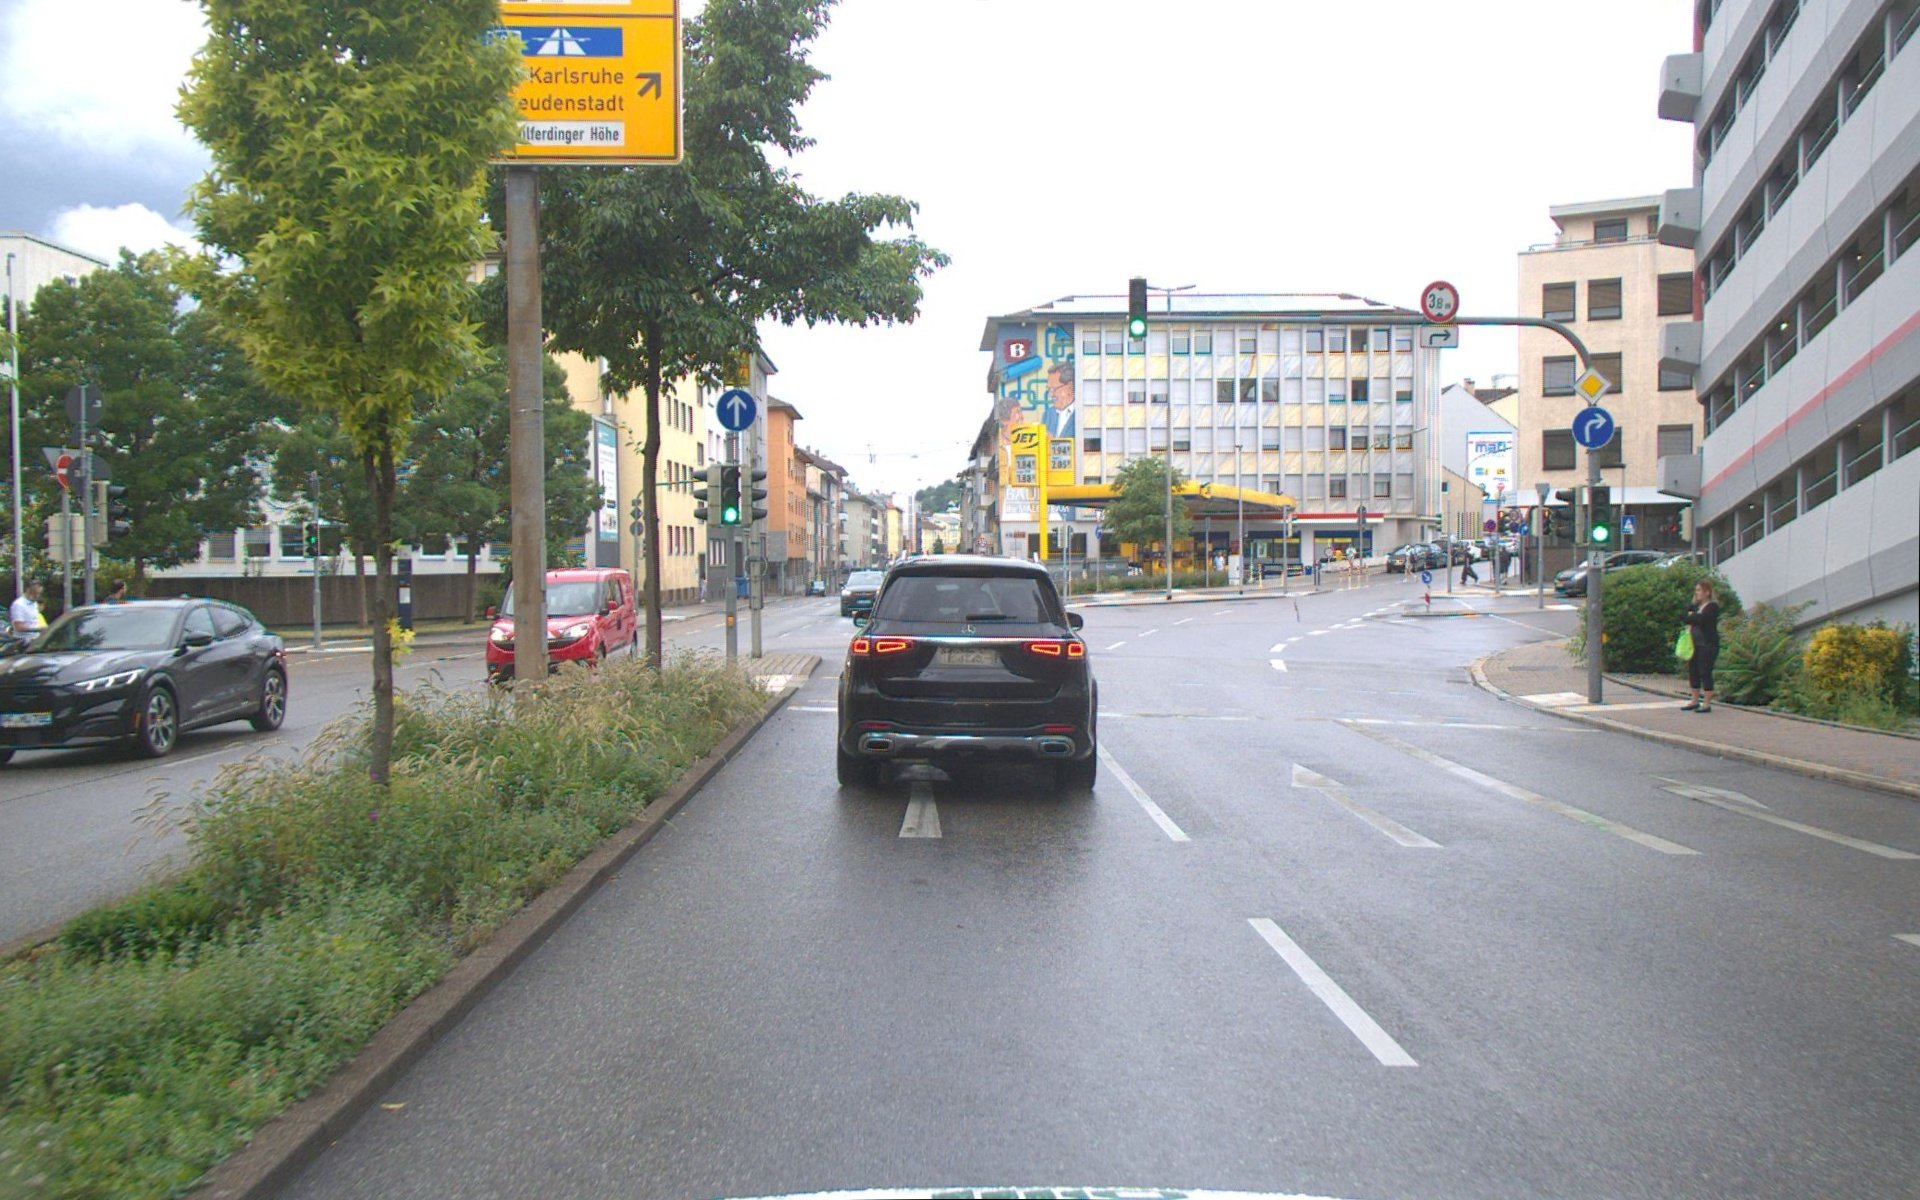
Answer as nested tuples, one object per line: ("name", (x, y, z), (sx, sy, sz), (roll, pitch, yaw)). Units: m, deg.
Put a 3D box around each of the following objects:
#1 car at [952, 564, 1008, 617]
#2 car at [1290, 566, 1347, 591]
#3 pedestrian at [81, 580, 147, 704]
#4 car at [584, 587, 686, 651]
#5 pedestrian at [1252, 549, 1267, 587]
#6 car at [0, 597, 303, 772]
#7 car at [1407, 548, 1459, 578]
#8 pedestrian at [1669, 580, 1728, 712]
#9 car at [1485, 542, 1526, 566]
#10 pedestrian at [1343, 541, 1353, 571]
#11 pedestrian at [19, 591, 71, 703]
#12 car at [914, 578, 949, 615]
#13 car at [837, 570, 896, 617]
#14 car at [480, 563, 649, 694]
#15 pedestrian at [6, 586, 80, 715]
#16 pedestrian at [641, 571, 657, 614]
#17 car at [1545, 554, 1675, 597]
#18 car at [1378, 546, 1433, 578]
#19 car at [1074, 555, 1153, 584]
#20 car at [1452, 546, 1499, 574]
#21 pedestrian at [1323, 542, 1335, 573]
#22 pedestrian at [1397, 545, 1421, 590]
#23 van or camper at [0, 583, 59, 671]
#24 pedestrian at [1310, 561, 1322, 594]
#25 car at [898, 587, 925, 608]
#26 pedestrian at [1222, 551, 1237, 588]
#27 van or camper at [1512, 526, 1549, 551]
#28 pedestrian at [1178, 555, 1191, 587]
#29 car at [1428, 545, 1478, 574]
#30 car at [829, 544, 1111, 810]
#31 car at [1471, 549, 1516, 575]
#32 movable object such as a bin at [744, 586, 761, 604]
("car", (0.708, -0.326, 60.882), (1.953, 1.832, 3.999), (2, -1, -1))
("car", (22.763, -1.342, 104.960), (1.962, 1.422, 3.982), (1, -1, 38))
("pedestrian", (-12.421, 0.599, 24.303), (0.675, 1.788, 0.716), (0, 0, -12))
("car", (-8.377, 0.439, 42.952), (1.809, 1.454, 4.434), (-2, 1, -1))
("pedestrian", (13.997, -1.491, 77.287), (0.560, 1.727, 0.631), (1, -1, 1))
("car", (-8.926, 0.815, 17.965), (1.850, 1.614, 4.535), (-2, 0, -2))
("car", (28.628, -2.250, 100.115), (1.958, 1.735, 3.989), (-1, 1, 33))
("pedestrian", (9.883, 0.613, 22.129), (0.634, 1.740, 0.470), (0, -2, 36))
("car", (41.070, -3.457, 124.525), (1.958, 1.735, 3.989), (-1, 1, 33))
("pedestrian", (21.939, -2.496, 93.505), (0.474, 1.669, 0.438), (1, -1, 28))
("pedestrian", (-12.998, 0.659, 23.499), (0.430, 1.560, 0.545), (-1, 0, -3))
("car", (-1.723, -0.185, 98.478), (1.953, 2.049, 3.998), (2, -1, -2))
("car", (-3.500, -0.218, 62.625), (1.953, 1.642, 4.189), (2, -1, 0))
("car", (-6.370, 0.429, 27.159), (1.757, 1.886, 4.790), (-2, 0, -3))
("pedestrian", (-12.271, 0.660, 22.150), (0.599, 1.685, 0.691), (-1, 0, -3))
("pedestrian", (-12.737, -0.306, 67.809), (0.616, 1.757, 0.649), (-1, 0, -11))
("car", (23.933, -0.894, 60.993), (4.095, 1.465, 1.860), (-1, 0, 6))
("car", (25.810, -2.188, 95.823), (1.958, 1.735, 3.989), (-1, 1, 33))
("car", (7.921, -1.555, 85.507), (1.724, 1.400, 3.935), (-1, 1, -44))
("car", (34.135, -2.635, 109.395), (1.958, 1.735, 3.989), (-1, 1, 33))
("pedestrian", (20.927, -2.396, 93.800), (0.515, 1.757, 0.688), (0, 0, 26))
("pedestrian", (21.989, -1.580, 81.068), (0.838, 2.165, 0.947), (-1, 0, -6))
("van or camper", (-23.572, 0.602, 37.962), (4.641, 1.965, 2.023), (0, 0, -1))
("pedestrian", (15.178, -0.957, 70.476), (0.388, 1.424, 0.446), (1, -1, 1))
("car", (-3.960, -0.181, 136.500), (1.952, 1.574, 4.190), (1, -1, 2))
("pedestrian", (12.822, -1.431, 78.692), (0.515, 1.757, 0.688), (0, 0, 26))
("van or camper", (48.056, -5.136, 139.321), (1.958, 2.013, 4.501), (-1, 1, 33))
("pedestrian", (12.565, -1.614, 92.674), (0.516, 1.757, 0.688), (0, 0, 29))
("car", (31.129, -2.555, 104.353), (1.958, 1.735, 3.989), (-1, 1, 33))
("car", (0.054, 0.577, 13.720), (1.953, 1.832, 3.999), (2, -1, -1))
("car", (36.797, -2.621, 114.000), (1.958, 1.735, 3.989), (-1, 1, 33))
("movable object such as a bin", (-12.264, -0.284, 97.855), (0.891, 1.056, 0.844), (1, -1, 0))
